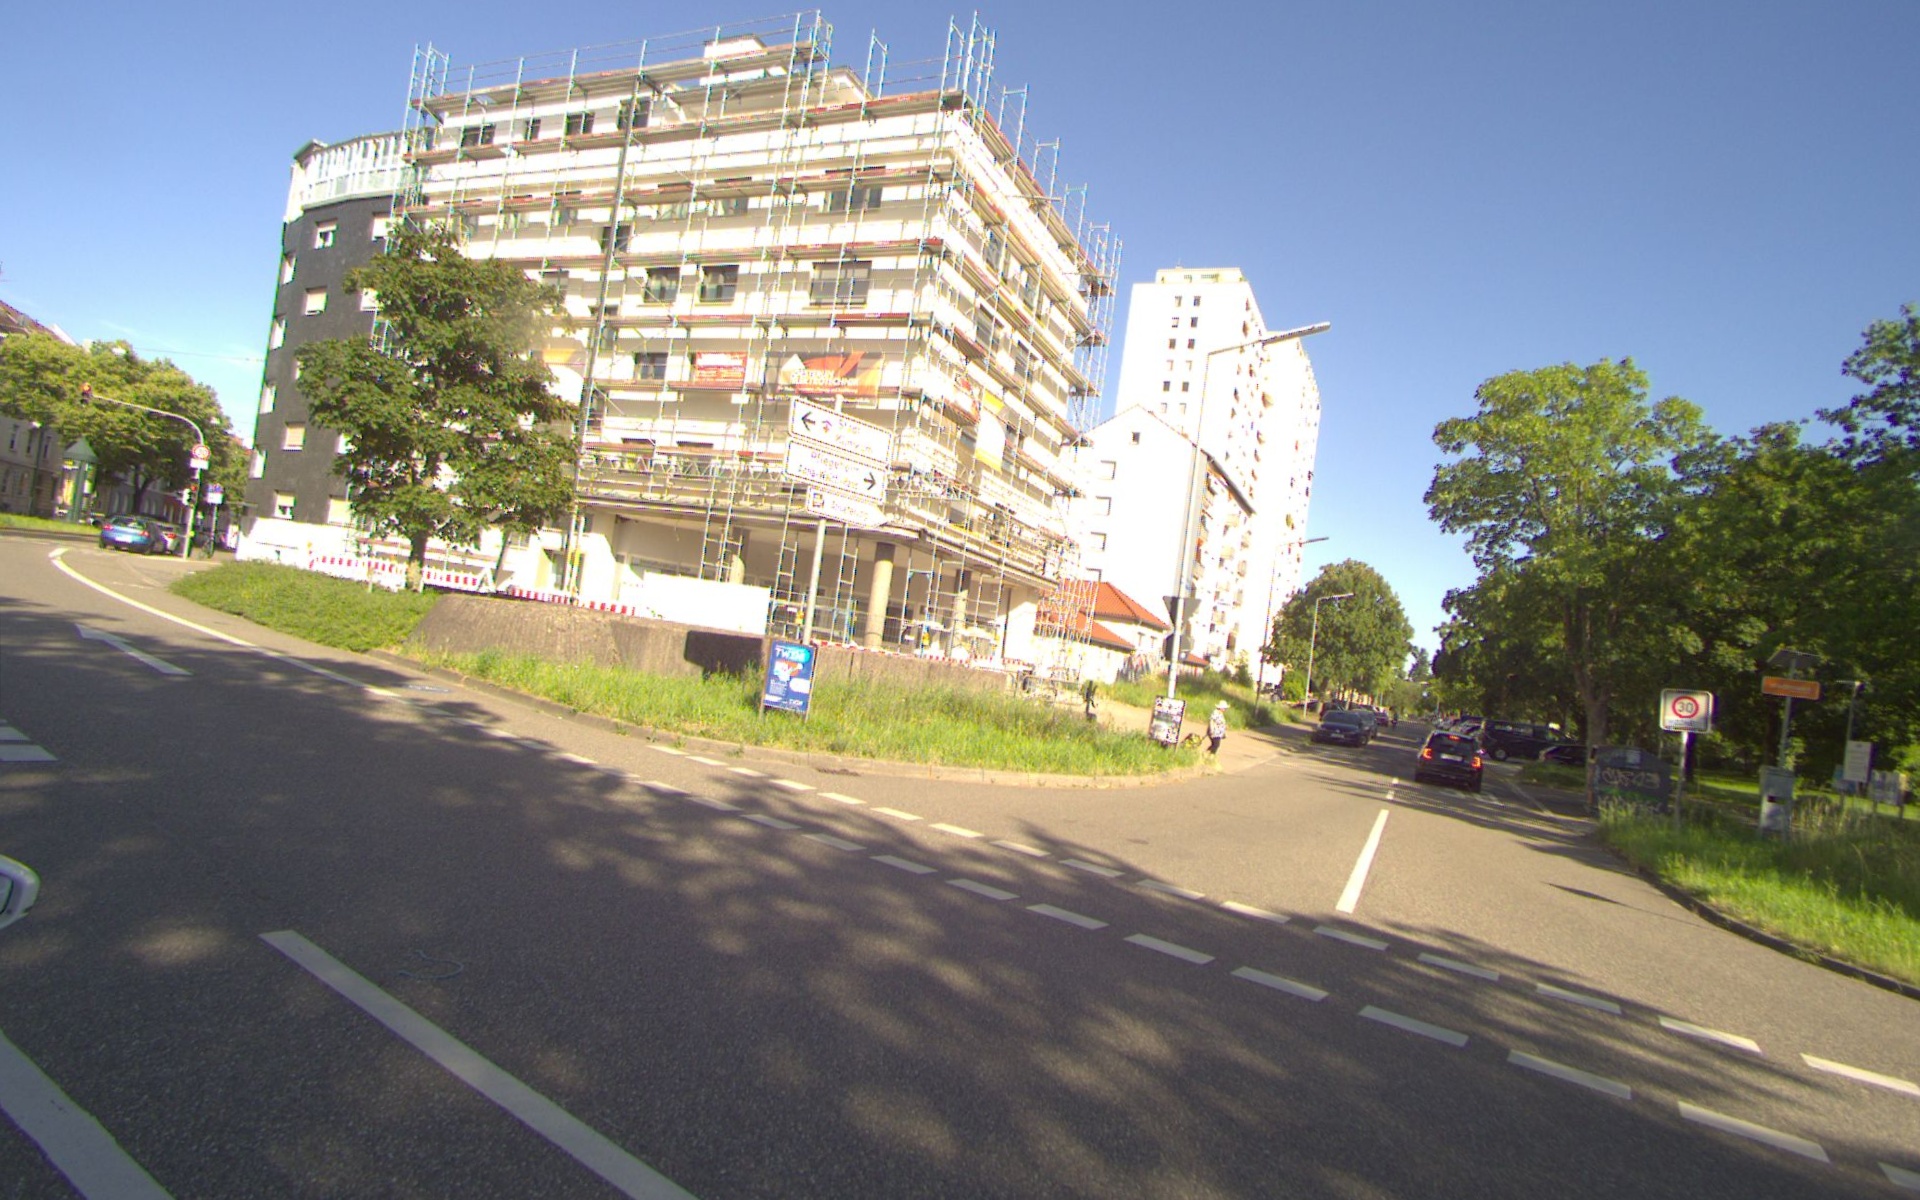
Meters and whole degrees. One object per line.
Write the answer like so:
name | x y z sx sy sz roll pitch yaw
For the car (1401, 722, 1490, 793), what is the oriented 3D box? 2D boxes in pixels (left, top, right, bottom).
car | 13.829 4.449 28.842 1.648 1.519 3.567 8 -2 18

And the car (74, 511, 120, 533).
car | -74.692 -6.736 87.123 1.978 1.411 3.973 10 -3 -28

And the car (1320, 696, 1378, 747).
car | 18.589 5.811 47.967 1.965 2.034 4.002 6 -4 28

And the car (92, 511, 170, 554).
car | -35.342 -2.837 42.994 1.763 1.458 3.592 10 -3 -29

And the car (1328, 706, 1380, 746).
car | 20.356 6.544 51.911 1.965 1.679 4.002 6 -5 28

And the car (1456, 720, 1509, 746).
car | 46.565 11.858 89.690 3.929 1.673 2.002 6 -4 26

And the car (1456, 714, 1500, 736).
car | 55.443 13.402 107.766 3.929 1.673 2.002 6 -4 26

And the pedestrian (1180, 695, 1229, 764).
pedestrian | 5.910 3.118 24.282 0.892 1.514 0.652 8 -2 20

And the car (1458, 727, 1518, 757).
car | 41.307 11.087 78.816 3.929 1.673 2.002 6 -4 26

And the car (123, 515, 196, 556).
car | -37.612 -2.999 47.342 1.806 1.525 3.972 9 -2 -28

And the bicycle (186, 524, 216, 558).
bicycle | -37.310 -2.884 49.467 0.569 1.528 2.788 9 -2 -28

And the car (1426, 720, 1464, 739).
car | 58.250 15.519 120.817 3.929 1.673 2.002 6 -4 26

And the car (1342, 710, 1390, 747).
car | 22.774 7.235 56.399 1.965 1.679 4.002 6 -5 28

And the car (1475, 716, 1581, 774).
car | 27.908 7.100 49.491 4.279 2.096 1.999 7 -2 31

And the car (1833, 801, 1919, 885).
car | 23.063 5.858 23.260 3.934 1.624 1.999 6 -4 32

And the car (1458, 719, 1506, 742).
car | 50.928 12.743 98.274 3.929 1.673 2.002 6 -4 26

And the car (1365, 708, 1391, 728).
car | 43.124 12.149 103.789 1.965 1.679 4.002 6 -5 28

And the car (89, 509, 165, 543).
car | -56.115 -4.978 67.775 3.924 1.612 1.913 8 -2 15

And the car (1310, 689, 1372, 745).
car | 16.535 5.070 43.536 1.965 2.036 4.001 7 -3 26

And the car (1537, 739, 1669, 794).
car | 23.768 6.136 37.246 3.939 1.311 1.997 5 -5 36
